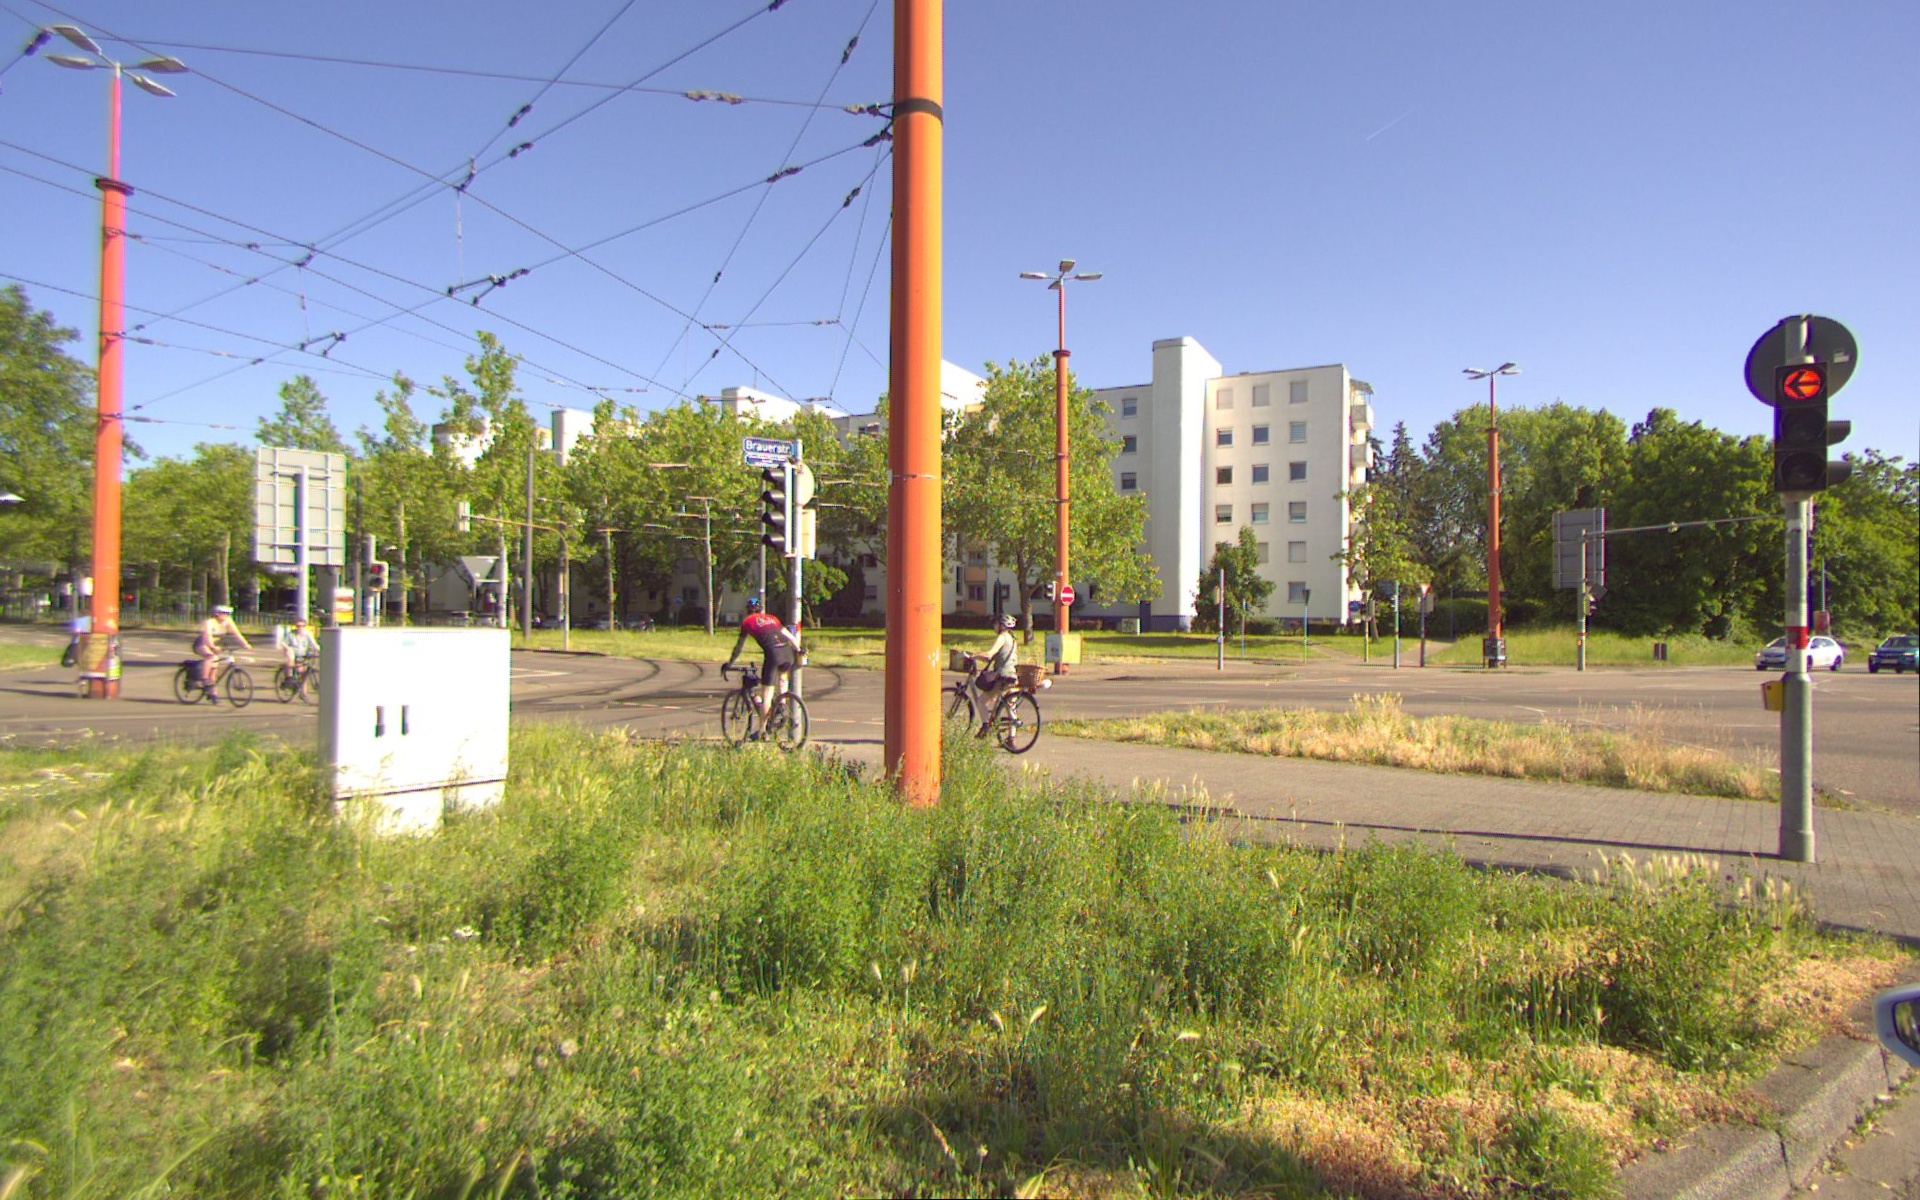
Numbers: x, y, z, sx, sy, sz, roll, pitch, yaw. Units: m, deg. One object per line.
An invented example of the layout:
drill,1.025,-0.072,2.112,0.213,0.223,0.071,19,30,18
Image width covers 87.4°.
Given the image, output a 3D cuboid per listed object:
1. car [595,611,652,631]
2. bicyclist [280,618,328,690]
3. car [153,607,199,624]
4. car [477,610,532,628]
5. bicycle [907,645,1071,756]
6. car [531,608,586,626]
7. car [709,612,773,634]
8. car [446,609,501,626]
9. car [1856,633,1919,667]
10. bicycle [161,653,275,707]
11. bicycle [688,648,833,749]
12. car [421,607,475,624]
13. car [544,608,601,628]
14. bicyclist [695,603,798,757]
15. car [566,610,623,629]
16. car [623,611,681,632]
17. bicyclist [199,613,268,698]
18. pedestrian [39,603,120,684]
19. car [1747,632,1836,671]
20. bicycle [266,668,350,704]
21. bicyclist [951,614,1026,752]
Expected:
car,-24.993,1.551,74.698,3.934,1.428,1.794,1,-1,-16
bicyclist,-12.977,1.064,19.876,0.616,1.399,0.443,1,-1,-1
car,-93.984,1.875,120.459,1.969,2.040,3.984,0,-1,38
car,-38.028,1.562,83.886,3.935,1.428,1.794,1,-1,-17
bicycle,0.331,1.174,12.201,1.915,1.210,0.690,0,-1,33
car,-31.934,1.363,79.974,3.935,1.428,1.794,1,-1,-17
car,-14.539,1.546,66.844,1.770,1.428,3.987,0,-1,35
car,-41.431,1.480,85.627,3.935,1.428,1.794,1,-1,-17
car,37.159,1.958,39.622,3.571,1.260,1.730,1,-1,-31
bicycle,-13.988,1.500,18.951,1.612,0.974,0.685,1,-1,-1
bicycle,-2.418,1.138,12.071,1.804,1.071,0.719,0,-1,40
car,-44.786,1.382,87.897,3.935,1.428,1.794,1,-1,-17
car,-30.073,1.413,78.076,3.934,1.428,1.794,1,-1,-16
bicyclist,-2.564,0.924,12.074,0.981,1.764,0.734,0,-1,37
car,-27.574,1.481,75.922,3.934,1.428,1.794,1,-1,-16
car,-22.252,1.542,72.647,3.934,1.428,1.794,1,-1,-16
bicyclist,-13.710,1.034,18.975,0.752,1.565,0.732,1,-1,-1
pedestrian,-20.299,0.995,23.176,0.968,1.817,0.955,1,-1,6
car,35.176,2.136,42.494,3.891,1.552,1.752,1,-1,-31
bicycle,-12.923,1.700,19.923,1.393,0.668,0.435,1,-1,1
bicyclist,0.350,0.979,12.193,0.651,1.605,0.671,0,-1,33
